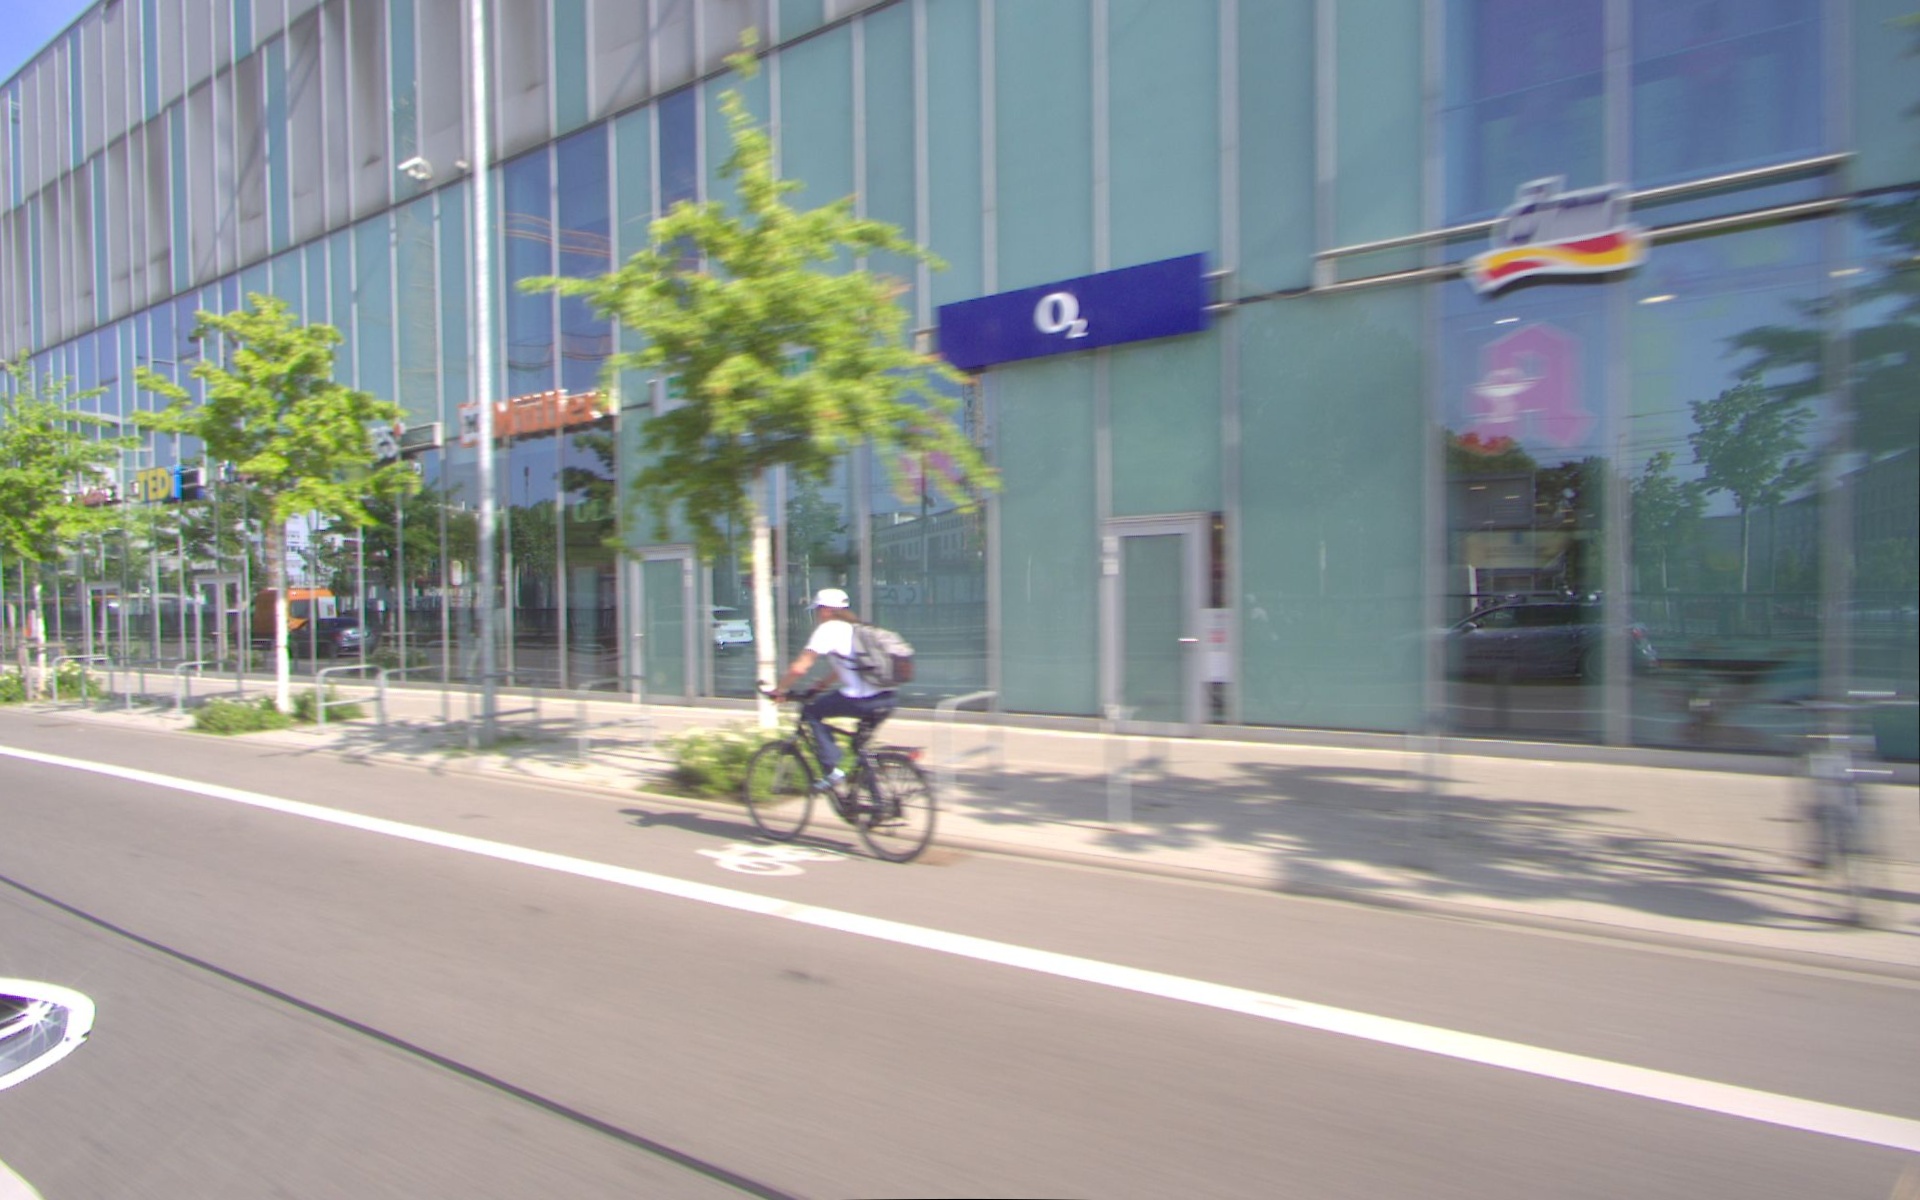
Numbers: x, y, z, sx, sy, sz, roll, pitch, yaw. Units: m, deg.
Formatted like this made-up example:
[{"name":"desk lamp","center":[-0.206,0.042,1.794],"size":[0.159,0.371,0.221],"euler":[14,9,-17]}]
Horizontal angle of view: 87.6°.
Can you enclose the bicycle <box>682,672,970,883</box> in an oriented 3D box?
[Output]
[{"name":"bicycle","center":[-0.950,1.108,6.756],"size":[2.023,1.132,0.659],"euler":[0,1,35]}]

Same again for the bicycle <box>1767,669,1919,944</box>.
[{"name":"bicycle","center":[4.748,0.994,5.370],"size":[0.483,1.124,1.873],"euler":[0,0,34]}]

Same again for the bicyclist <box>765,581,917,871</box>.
[{"name":"bicyclist","center":[-0.780,0.772,6.606],"size":[0.759,1.772,0.649],"euler":[0,1,35]}]
